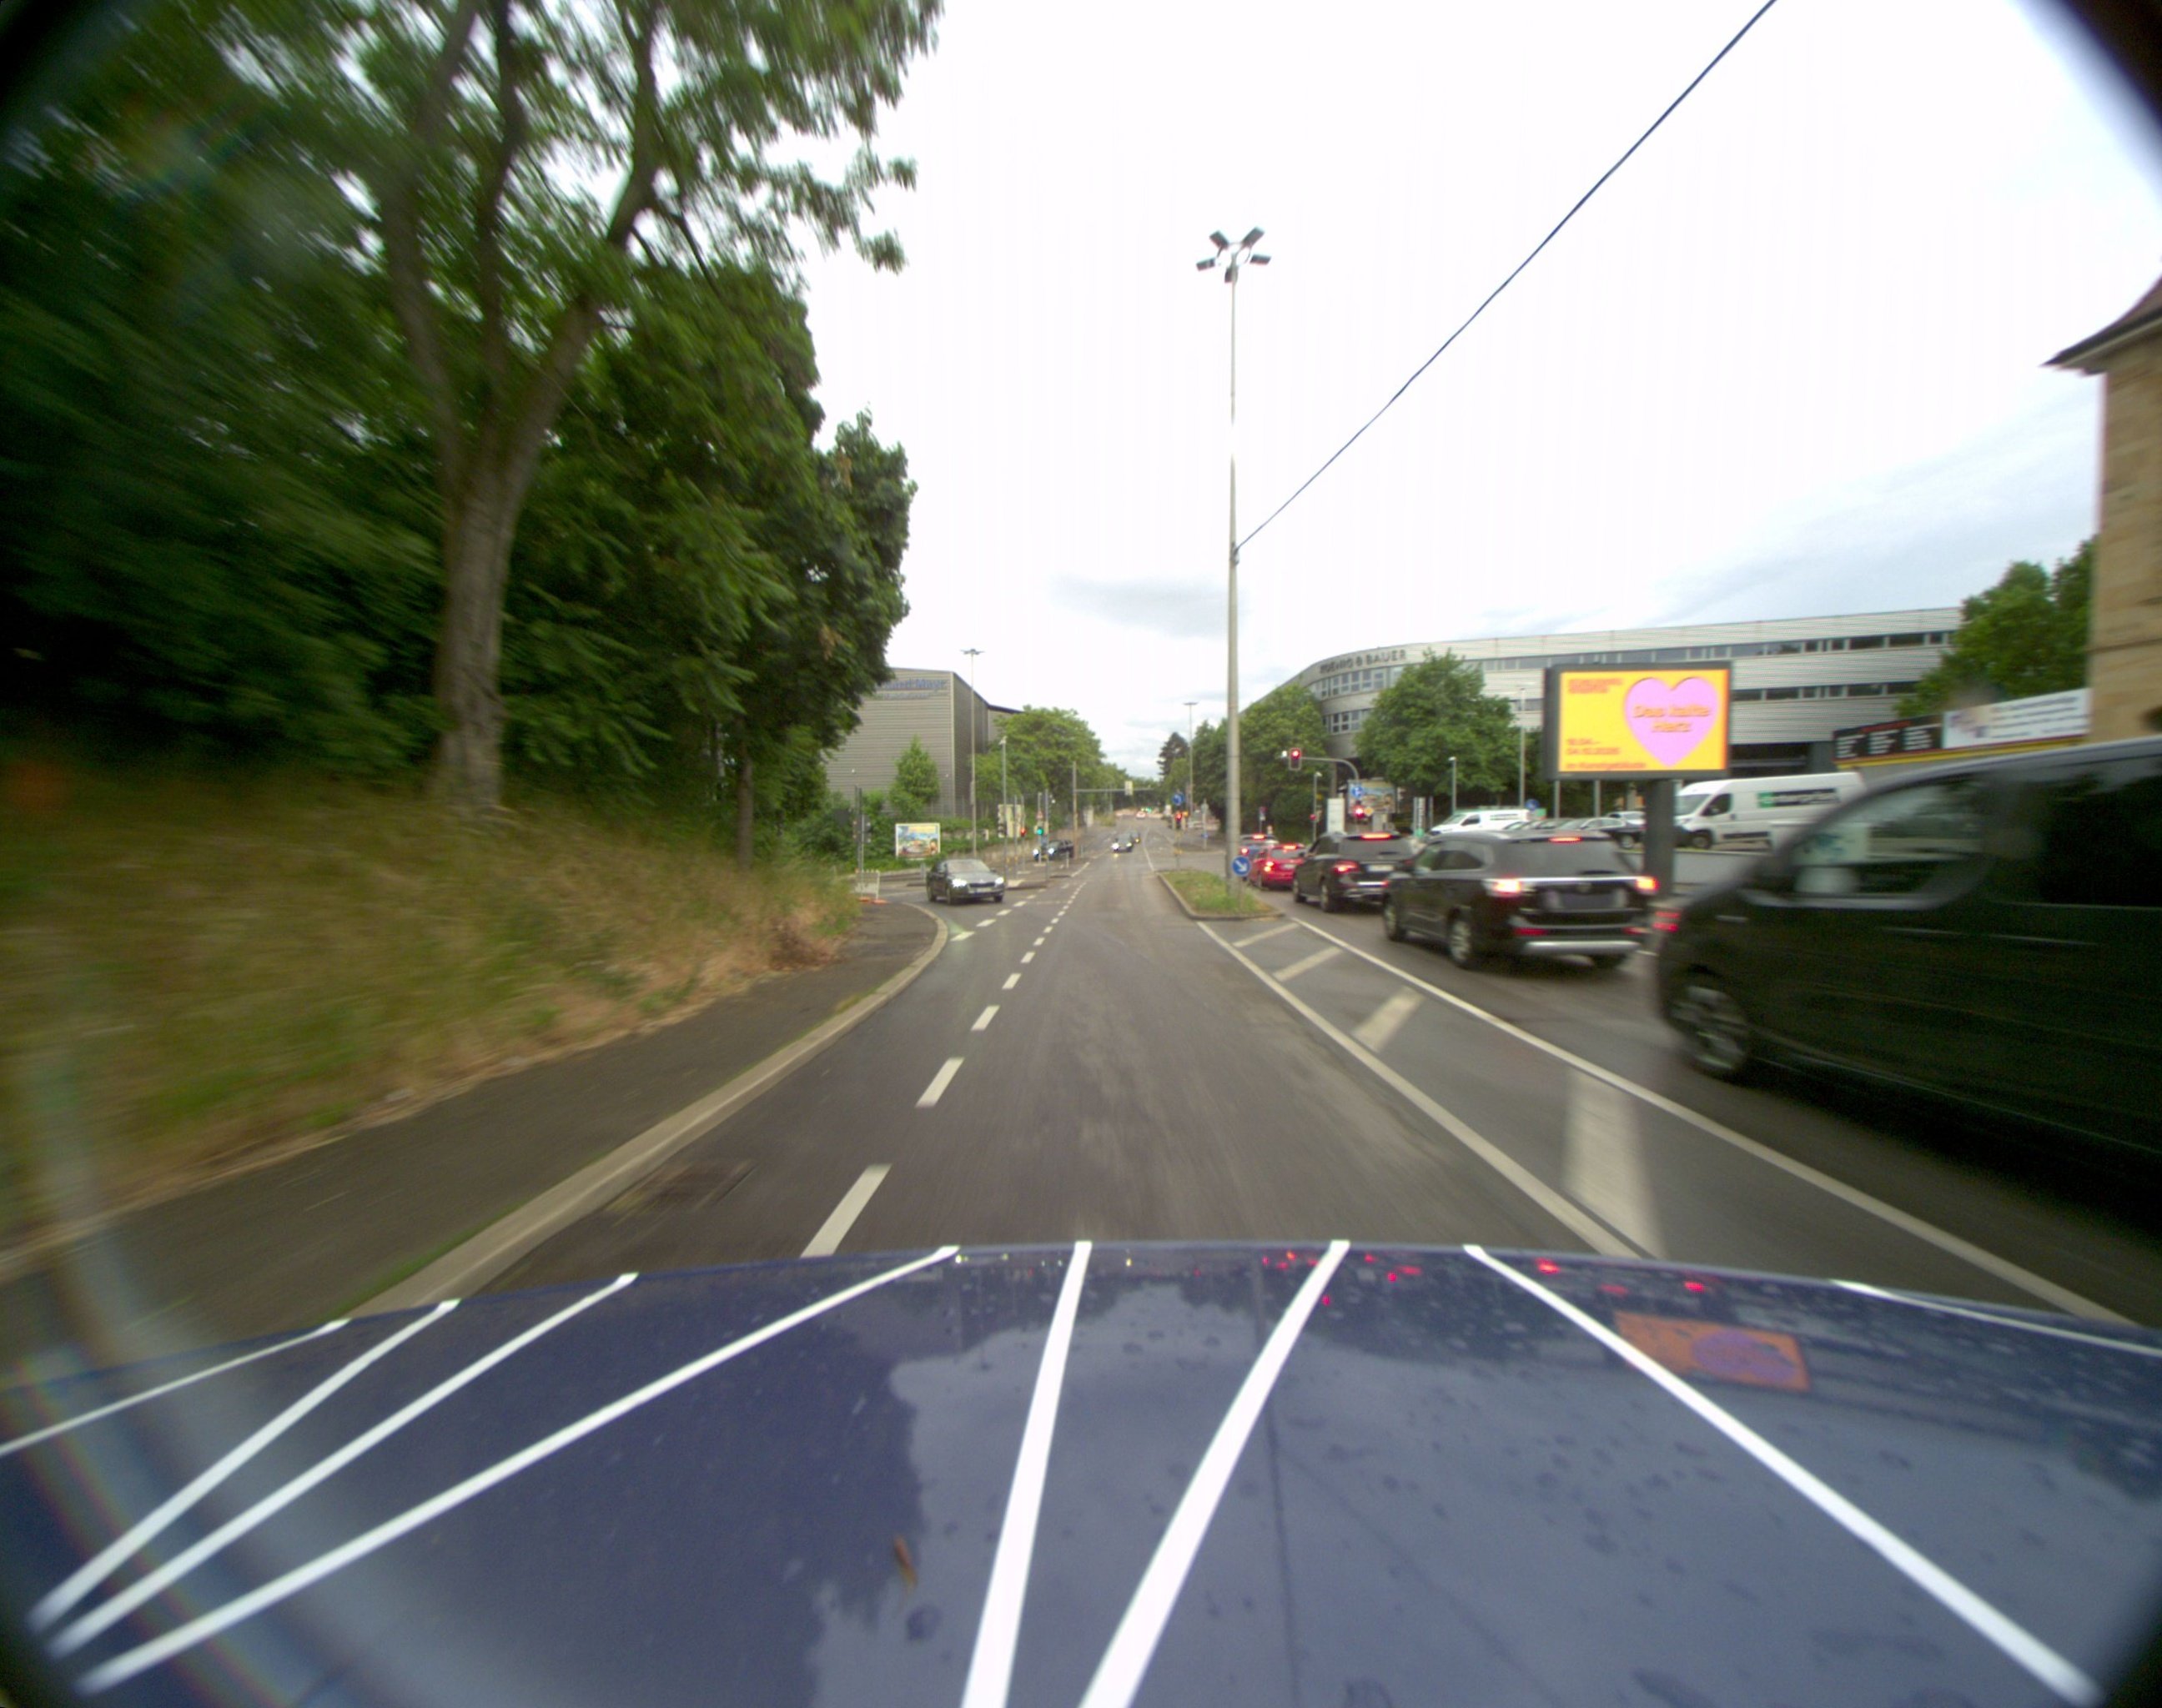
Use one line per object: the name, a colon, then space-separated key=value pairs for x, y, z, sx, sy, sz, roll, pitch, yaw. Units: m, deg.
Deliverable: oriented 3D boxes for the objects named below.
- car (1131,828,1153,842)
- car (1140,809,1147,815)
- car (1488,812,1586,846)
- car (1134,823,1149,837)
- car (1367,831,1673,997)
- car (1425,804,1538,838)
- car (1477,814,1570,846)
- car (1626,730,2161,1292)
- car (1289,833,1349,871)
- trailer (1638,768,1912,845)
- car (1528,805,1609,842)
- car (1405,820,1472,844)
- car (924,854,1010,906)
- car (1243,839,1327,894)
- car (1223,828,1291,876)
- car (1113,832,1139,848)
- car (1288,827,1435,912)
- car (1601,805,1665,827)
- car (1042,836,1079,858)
car: x=6.963 y=-2.212 z=86.501 sx=1.750 sy=1.363 sz=3.758 roll=-3 pitch=3 yaw=15
car: x=14.919 y=-10.067 z=181.796 sx=1.532 sy=1.308 sz=3.231 roll=-1 pitch=3 yaw=7
car: x=21.751 y=-1.214 z=36.343 sx=3.619 sy=1.361 sz=1.741 roll=-4 pitch=2 yaw=3
car: x=7.366 y=-2.951 z=92.053 sx=1.736 sy=1.569 sz=3.709 roll=-1 pitch=3 yaw=4
car: x=5.341 y=0.548 z=10.104 sx=1.692 sy=1.596 sz=4.728 roll=-1 pitch=3 yaw=6
car: x=22.846 y=-1.899 z=43.487 sx=5.370 sy=1.792 sz=2.218 roll=-1 pitch=3 yaw=-5
car: x=22.441 y=-1.217 z=38.656 sx=3.619 sy=1.361 sz=1.872 roll=-4 pitch=2 yaw=3
car: x=4.581 y=0.505 z=2.589 sx=2.019 sy=1.856 sz=5.042 roll=-1 pitch=1 yaw=3
car: x=10.373 y=-0.122 z=33.420 sx=1.545 sy=1.451 sz=4.069 roll=-1 pitch=3 yaw=3
trailer: x=23.801 y=-1.610 z=26.323 sx=7.114 sy=2.415 sz=2.394 roll=-1 pitch=3 yaw=2
car: x=21.335 y=-1.316 z=33.298 sx=2.684 sy=1.417 sz=1.227 roll=-4 pitch=2 yaw=3
car: x=27.600 y=-1.704 z=58.807 sx=4.374 sy=1.591 sz=2.036 roll=-3 pitch=2 yaw=15
car: x=-3.917 y=0.831 z=25.552 sx=1.814 sy=1.509 sz=4.045 roll=-4 pitch=0 yaw=-23
car: x=6.708 y=0.331 z=25.457 sx=1.810 sy=1.522 sz=4.440 roll=-1 pitch=3 yaw=3
car: x=7.268 y=-0.127 z=31.875 sx=1.938 sy=1.808 sz=5.170 roll=-1 pitch=1 yaw=4
car: x=4.316 y=-1.393 z=72.563 sx=1.595 sy=1.253 sz=3.758 roll=-3 pitch=3 yaw=15
car: x=6.294 y=0.271 z=17.638 sx=1.959 sy=1.687 sz=4.626 roll=-1 pitch=1 yaw=4
car: x=33.857 y=-2.342 z=46.727 sx=1.573 sy=1.314 sz=3.295 roll=-1 pitch=3 yaw=1
car: x=-1.713 y=-0.588 z=65.229 sx=1.950 sy=1.535 sz=4.213 roll=-3 pitch=3 yaw=15
